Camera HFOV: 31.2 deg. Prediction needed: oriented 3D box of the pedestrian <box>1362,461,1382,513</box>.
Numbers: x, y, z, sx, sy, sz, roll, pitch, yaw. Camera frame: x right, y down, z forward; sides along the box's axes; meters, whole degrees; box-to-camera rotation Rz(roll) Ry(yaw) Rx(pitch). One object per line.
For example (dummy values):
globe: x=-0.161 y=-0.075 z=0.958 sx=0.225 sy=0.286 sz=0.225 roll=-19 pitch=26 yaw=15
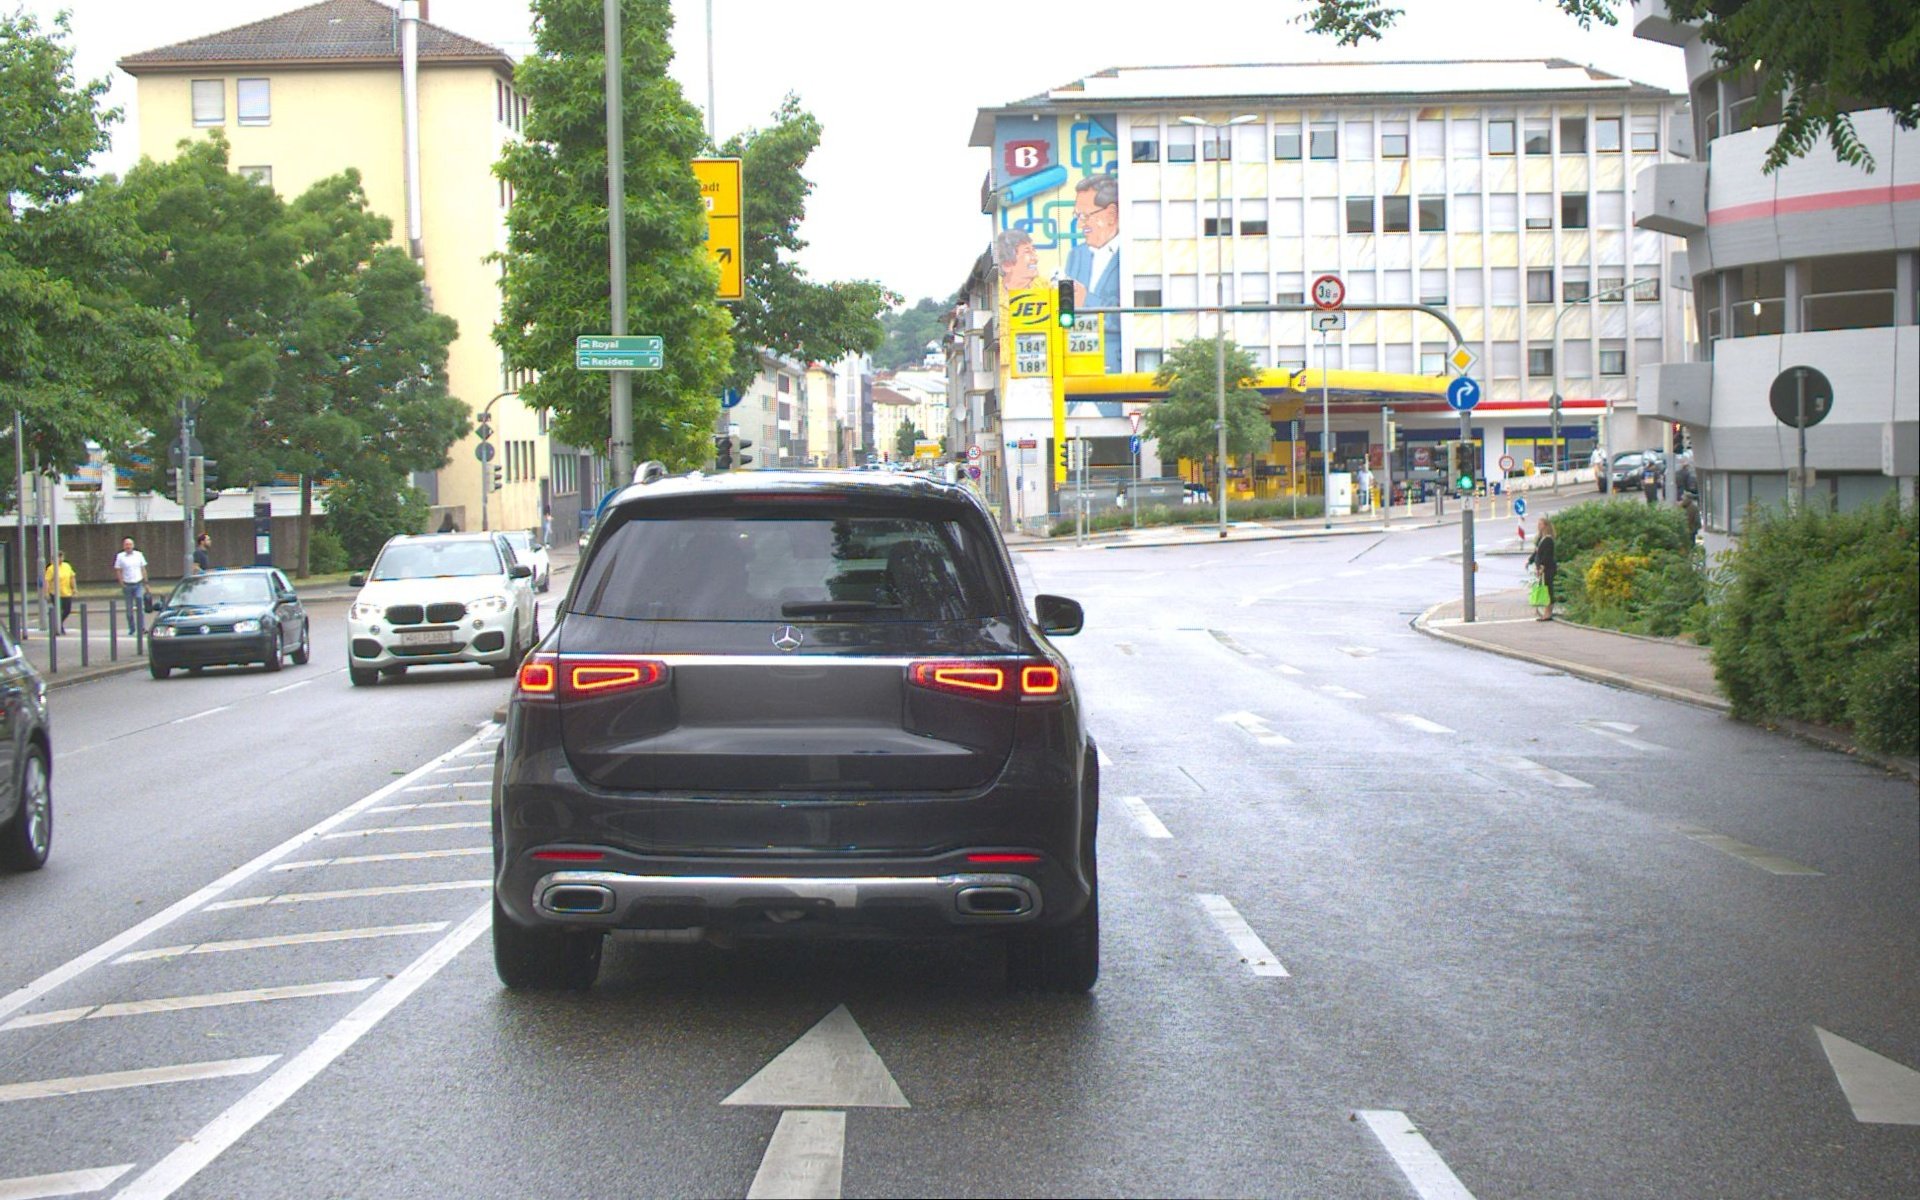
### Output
pedestrian: x=13.484 y=-3.691 z=112.482 sx=0.572 sy=1.691 sz=0.631 roll=1 pitch=0 yaw=1

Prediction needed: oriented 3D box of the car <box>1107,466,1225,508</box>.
car: x=7.228 y=-3.969 z=120.823 sx=1.732 sy=1.371 sz=3.998 roll=-3 pitch=2 yaw=-44

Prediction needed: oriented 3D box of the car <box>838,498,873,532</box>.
car: x=-6.324 y=-5.138 z=208.319 sx=1.993 sy=2.007 sz=4.000 roll=1 pitch=0 yaw=0

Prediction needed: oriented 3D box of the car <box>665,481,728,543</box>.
car: x=-8.392 y=-2.804 z=109.899 sx=1.792 sy=1.847 sz=4.793 roll=-3 pitch=1 yaw=-3

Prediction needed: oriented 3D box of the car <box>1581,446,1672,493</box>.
car: x=25.380 y=-4.979 z=130.810 sx=1.997 sy=1.700 sz=3.993 roll=0 pitch=2 yaw=33

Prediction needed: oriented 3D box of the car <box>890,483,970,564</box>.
car: x=-0.798 y=-1.948 z=88.946 sx=1.993 sy=2.007 sz=4.000 roll=1 pitch=0 yaw=-1

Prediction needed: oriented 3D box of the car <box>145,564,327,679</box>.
car: x=-9.923 y=0.265 z=47.377 sx=1.745 sy=1.407 sz=3.971 roll=-3 pitch=1 yaw=-2

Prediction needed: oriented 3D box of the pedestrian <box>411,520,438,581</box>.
pedestrian: x=-15.264 y=-1.408 z=98.027 sx=0.648 sy=1.721 sz=0.629 roll=-2 pitch=2 yaw=-4

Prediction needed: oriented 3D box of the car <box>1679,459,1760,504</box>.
car: x=27.127 y=-4.224 z=122.679 sx=1.799 sy=1.520 sz=4.049 roll=2 pitch=2 yaw=28

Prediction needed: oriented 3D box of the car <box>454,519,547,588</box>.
car: x=-10.561 y=-1.089 z=79.227 sx=1.732 sy=1.464 sz=4.232 roll=-3 pitch=1 yaw=-3

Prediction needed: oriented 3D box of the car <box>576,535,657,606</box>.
car: x=-8.582 y=-0.760 z=86.155 sx=1.732 sy=1.620 sz=4.232 roll=-3 pitch=1 yaw=-3

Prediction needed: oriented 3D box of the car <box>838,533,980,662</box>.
car: x=-0.725 y=-0.050 z=50.755 sx=1.993 sy=1.794 sz=4.000 roll=1 pitch=0 yaw=0

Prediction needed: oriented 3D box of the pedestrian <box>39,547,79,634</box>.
pedestrian: x=-16.215 y=-0.172 z=61.888 sx=0.439 sy=1.528 sz=0.545 roll=-1 pitch=2 yaw=14

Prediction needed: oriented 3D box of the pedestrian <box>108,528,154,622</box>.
pedestrian: x=-14.860 y=-0.458 z=61.649 sx=0.689 sy=1.650 sz=0.613 roll=-2 pitch=2 yaw=-7

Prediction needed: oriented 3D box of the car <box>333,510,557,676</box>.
car: x=-6.159 y=-0.118 z=41.610 sx=1.891 sy=1.805 sz=4.575 roll=-3 pitch=1 yaw=1

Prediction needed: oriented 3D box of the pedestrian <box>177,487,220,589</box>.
pedestrian: x=-13.273 y=-1.081 z=59.953 sx=0.687 sy=1.751 sz=0.718 roll=-1 pitch=2 yaw=-11

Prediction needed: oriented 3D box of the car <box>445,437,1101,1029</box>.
car: x=-0.598 y=0.399 z=12.589 sx=1.993 sy=1.794 sz=4.000 roll=1 pitch=0 yaw=-1

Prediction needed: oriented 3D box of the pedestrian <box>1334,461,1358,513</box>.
pedestrian: x=12.819 y=-3.752 z=114.185 sx=0.527 sy=1.721 sz=0.688 roll=0 pitch=2 yaw=29

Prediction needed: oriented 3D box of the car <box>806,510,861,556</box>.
car: x=-4.737 y=-2.492 z=128.677 sx=1.993 sy=1.609 sz=4.190 roll=1 pitch=0 yaw=-2

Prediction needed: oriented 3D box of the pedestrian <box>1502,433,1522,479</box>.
pedestrian: x=20.745 y=-5.405 z=129.151 sx=0.526 sy=1.721 sz=0.688 roll=0 pitch=2 yaw=26

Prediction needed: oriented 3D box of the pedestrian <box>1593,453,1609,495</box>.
pedestrian: x=25.160 y=-4.961 z=134.945 sx=0.484 sy=1.635 sz=0.438 roll=1 pitch=0 yaw=28

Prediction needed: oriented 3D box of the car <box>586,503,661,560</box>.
car: x=-10.101 y=-2.062 z=103.556 sx=1.888 sy=1.581 sz=4.537 roll=-3 pitch=1 yaw=-2

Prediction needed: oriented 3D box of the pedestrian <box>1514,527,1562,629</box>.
pedestrian: x=9.703 y=-0.365 z=57.732 sx=0.646 sy=1.704 sz=0.470 roll=0 pitch=0 yaw=36

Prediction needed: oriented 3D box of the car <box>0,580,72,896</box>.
car: x=-5.346 y=0.693 z=15.319 sx=1.811 sy=1.457 sz=4.289 roll=-3 pitch=1 yaw=-3

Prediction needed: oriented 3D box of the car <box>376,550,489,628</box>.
car: x=-10.349 y=-0.245 z=67.688 sx=1.732 sy=1.389 sz=4.200 roll=-3 pitch=1 yaw=-3
